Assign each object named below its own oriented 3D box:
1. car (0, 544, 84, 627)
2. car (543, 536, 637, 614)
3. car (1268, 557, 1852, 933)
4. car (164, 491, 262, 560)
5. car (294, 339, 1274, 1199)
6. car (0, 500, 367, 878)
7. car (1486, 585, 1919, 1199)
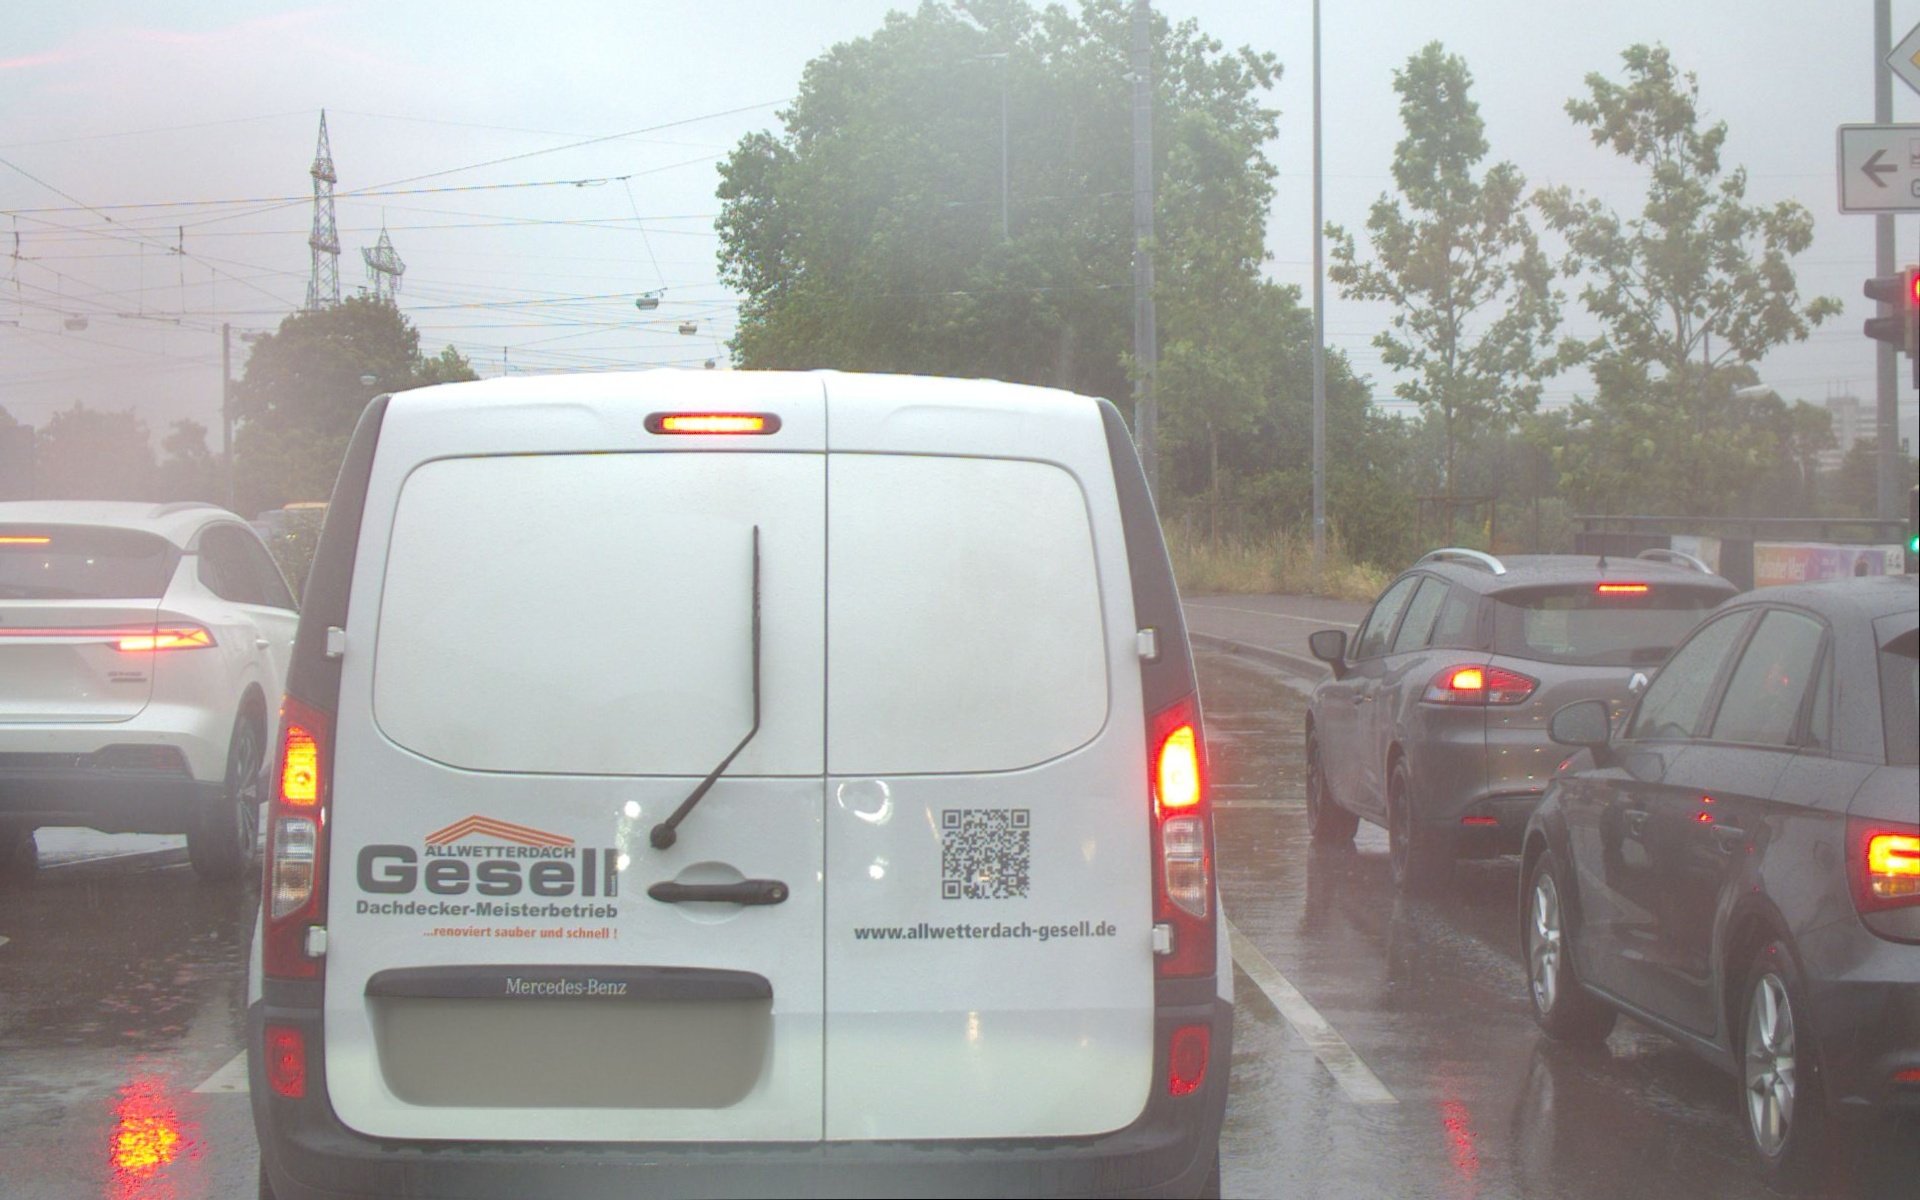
[{"bbox_3d":[-21.330,-0.349,77.447,1.929,1.820,3.999,1,1,4],"label":"car"},{"bbox_3d":[-7.462,-0.516,69.119,1.614,1.498,3.716,1,1,-10],"label":"car"},{"bbox_3d":[2.559,0.556,15.577,1.859,1.424,3.808,1,1,-2],"label":"car"},{"bbox_3d":[-22.578,-2.238,104.019,1.993,2.007,4.000,1,1,1],"label":"car"},{"bbox_3d":[-0.304,0.451,7.520,1.566,1.782,4.000,0,1,-1],"label":"car"},{"bbox_3d":[-3.969,0.303,16.134,1.728,1.530,4.298,1,1,-2],"label":"car"},{"bbox_3d":[2.518,0.656,8.939,1.629,1.340,3.624,1,1,-2],"label":"car"}]
